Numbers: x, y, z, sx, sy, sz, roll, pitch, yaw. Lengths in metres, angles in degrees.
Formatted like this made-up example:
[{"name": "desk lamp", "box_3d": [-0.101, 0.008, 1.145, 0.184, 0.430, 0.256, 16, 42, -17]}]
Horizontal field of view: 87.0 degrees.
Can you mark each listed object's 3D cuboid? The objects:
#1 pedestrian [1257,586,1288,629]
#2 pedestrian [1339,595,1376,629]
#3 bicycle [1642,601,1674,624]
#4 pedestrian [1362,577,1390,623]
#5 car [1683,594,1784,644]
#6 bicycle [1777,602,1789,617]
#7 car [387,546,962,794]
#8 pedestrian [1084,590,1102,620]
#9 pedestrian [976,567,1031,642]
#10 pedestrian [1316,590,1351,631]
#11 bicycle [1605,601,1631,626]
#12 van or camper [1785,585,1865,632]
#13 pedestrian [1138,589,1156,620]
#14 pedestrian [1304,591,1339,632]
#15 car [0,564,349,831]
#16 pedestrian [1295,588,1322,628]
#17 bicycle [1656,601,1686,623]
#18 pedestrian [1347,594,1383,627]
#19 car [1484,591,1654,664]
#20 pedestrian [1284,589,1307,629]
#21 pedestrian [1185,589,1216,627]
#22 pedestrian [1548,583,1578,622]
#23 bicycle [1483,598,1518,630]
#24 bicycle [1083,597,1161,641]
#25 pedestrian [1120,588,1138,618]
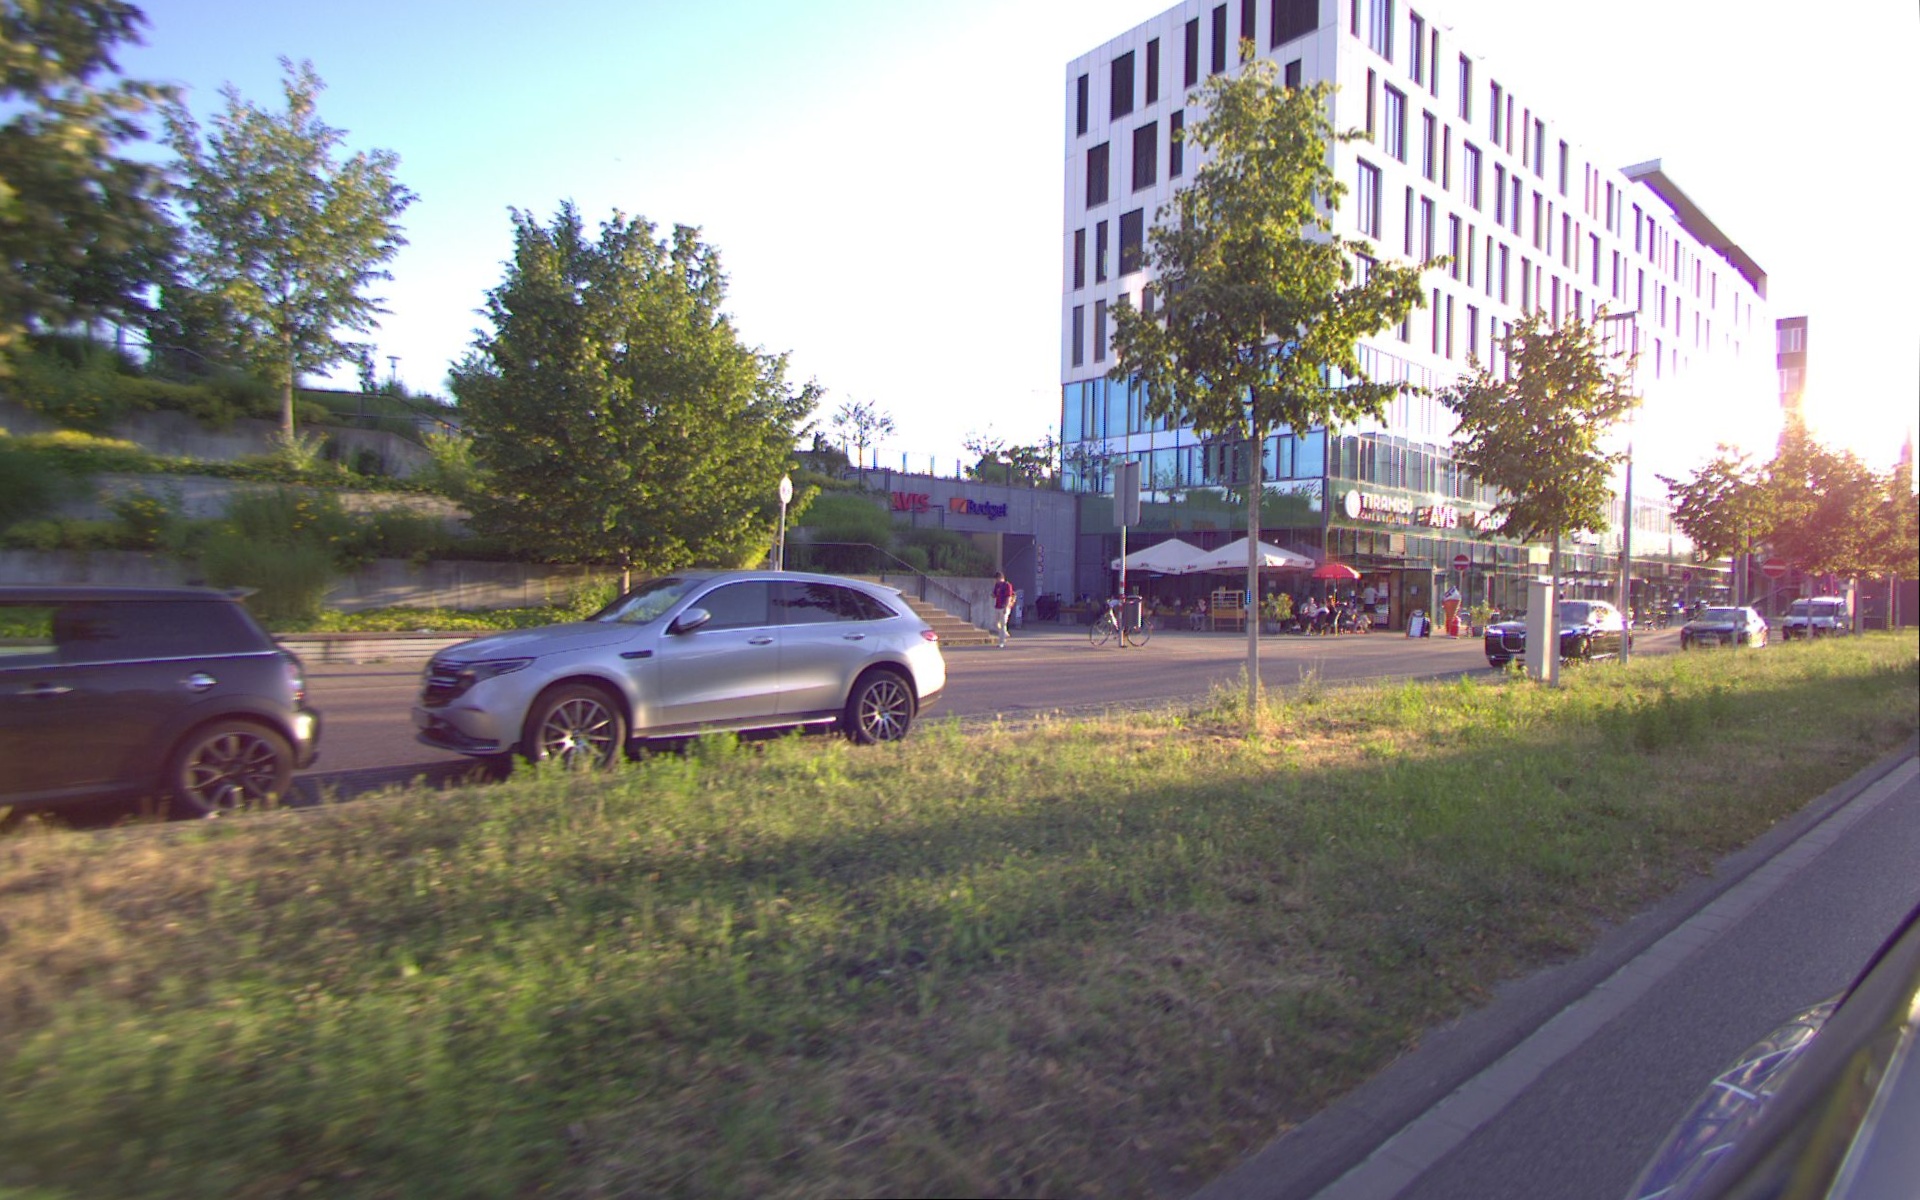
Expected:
[{"name": "pedestrian", "box_3d": [10.349, 0.238, 33.530, 0.741, 1.385, 0.760, 1, 0, 38]}, {"name": "pedestrian", "box_3d": [14.287, 0.432, 36.379, 0.672, 1.139, 0.975, 1, 3, -40]}, {"name": "bicycle", "box_3d": [35.323, 0.635, 51.207, 1.879, 1.053, 0.531, 2, 2, -30]}, {"name": "pedestrian", "box_3d": [16.374, -0.007, 39.854, 0.670, 1.781, 0.664, 1, 2, -23]}, {"name": "car", "box_3d": [25.273, 0.583, 33.018, 4.401, 1.520, 1.811, 0, 1, -42]}, {"name": "bicycle", "box_3d": [59.466, 0.679, 73.131, 0.529, 1.053, 2.041, 4, 2, 43]}, {"name": "car", "box_3d": [-2.292, 0.486, 8.979, 4.595, 1.653, 1.811, 0, -1, -42]}, {"name": "pedestrian", "box_3d": [5.424, 0.205, 41.301, 0.525, 1.230, 0.476, 1, 1, -35]}, {"name": "pedestrian", "box_3d": [1.002, 0.102, 23.251, 1.060, 1.675, 0.696, 1, 0, -42]}, {"name": "pedestrian", "box_3d": [12.535, 0.340, 33.963, 0.671, 1.306, 0.778, 1, 2, -34]}, {"name": "bicycle", "box_3d": [30.714, 0.625, 47.214, 2.110, 1.122, 0.388, 0, 3, -41]}, {"name": "van or camper", "box_3d": [38.036, 0.380, 44.472, 4.744, 1.944, 1.962, 0, -1, -41]}, {"name": "pedestrian", "box_3d": [7.629, 0.178, 41.204, 0.525, 1.230, 0.476, 1, 1, -35]}, {"name": "pedestrian", "box_3d": [11.945, 0.364, 33.474, 0.671, 1.306, 0.783, 1, 2, -34]}, {"name": "car", "box_3d": [-5.929, 0.510, 5.778, 3.931, 1.416, 1.752, 0, 0, -42]}, {"name": "pedestrian", "box_3d": [11.982, 0.272, 34.779, 0.681, 1.306, 0.621, 4, 2, 36]}, {"name": "bicycle", "box_3d": [37.357, 0.635, 53.172, 1.838, 1.053, 0.531, 2, 2, -30]}, {"name": "pedestrian", "box_3d": [14.805, 0.371, 36.989, 0.672, 1.139, 0.975, 1, 3, -40]}, {"name": "car", "box_3d": [14.368, 0.584, 23.729, 5.317, 1.520, 1.923, 0, 1, -42]}, {"name": "pedestrian", "box_3d": [11.328, 0.297, 34.202, 0.654, 1.306, 0.681, 3, 2, 17]}, {"name": "pedestrian", "box_3d": [8.425, 0.271, 35.433, 0.757, 1.281, 0.744, 1, 0, -40]}, {"name": "pedestrian", "box_3d": [29.743, 0.111, 49.893, 0.931, 1.906, 1.028, 1, 1, -42]}, {"name": "bicycle", "box_3d": [20.696, 0.519, 38.715, 0.640, 1.147, 1.843, 4, 2, 45]}, {"name": "bicycle", "box_3d": [3.996, 0.471, 24.933, 1.872, 1.056, 0.546, 1, 1, -21]}, {"name": "pedestrian", "box_3d": [6.868, 0.114, 41.150, 0.525, 1.230, 0.476, 1, 1, -35]}]
